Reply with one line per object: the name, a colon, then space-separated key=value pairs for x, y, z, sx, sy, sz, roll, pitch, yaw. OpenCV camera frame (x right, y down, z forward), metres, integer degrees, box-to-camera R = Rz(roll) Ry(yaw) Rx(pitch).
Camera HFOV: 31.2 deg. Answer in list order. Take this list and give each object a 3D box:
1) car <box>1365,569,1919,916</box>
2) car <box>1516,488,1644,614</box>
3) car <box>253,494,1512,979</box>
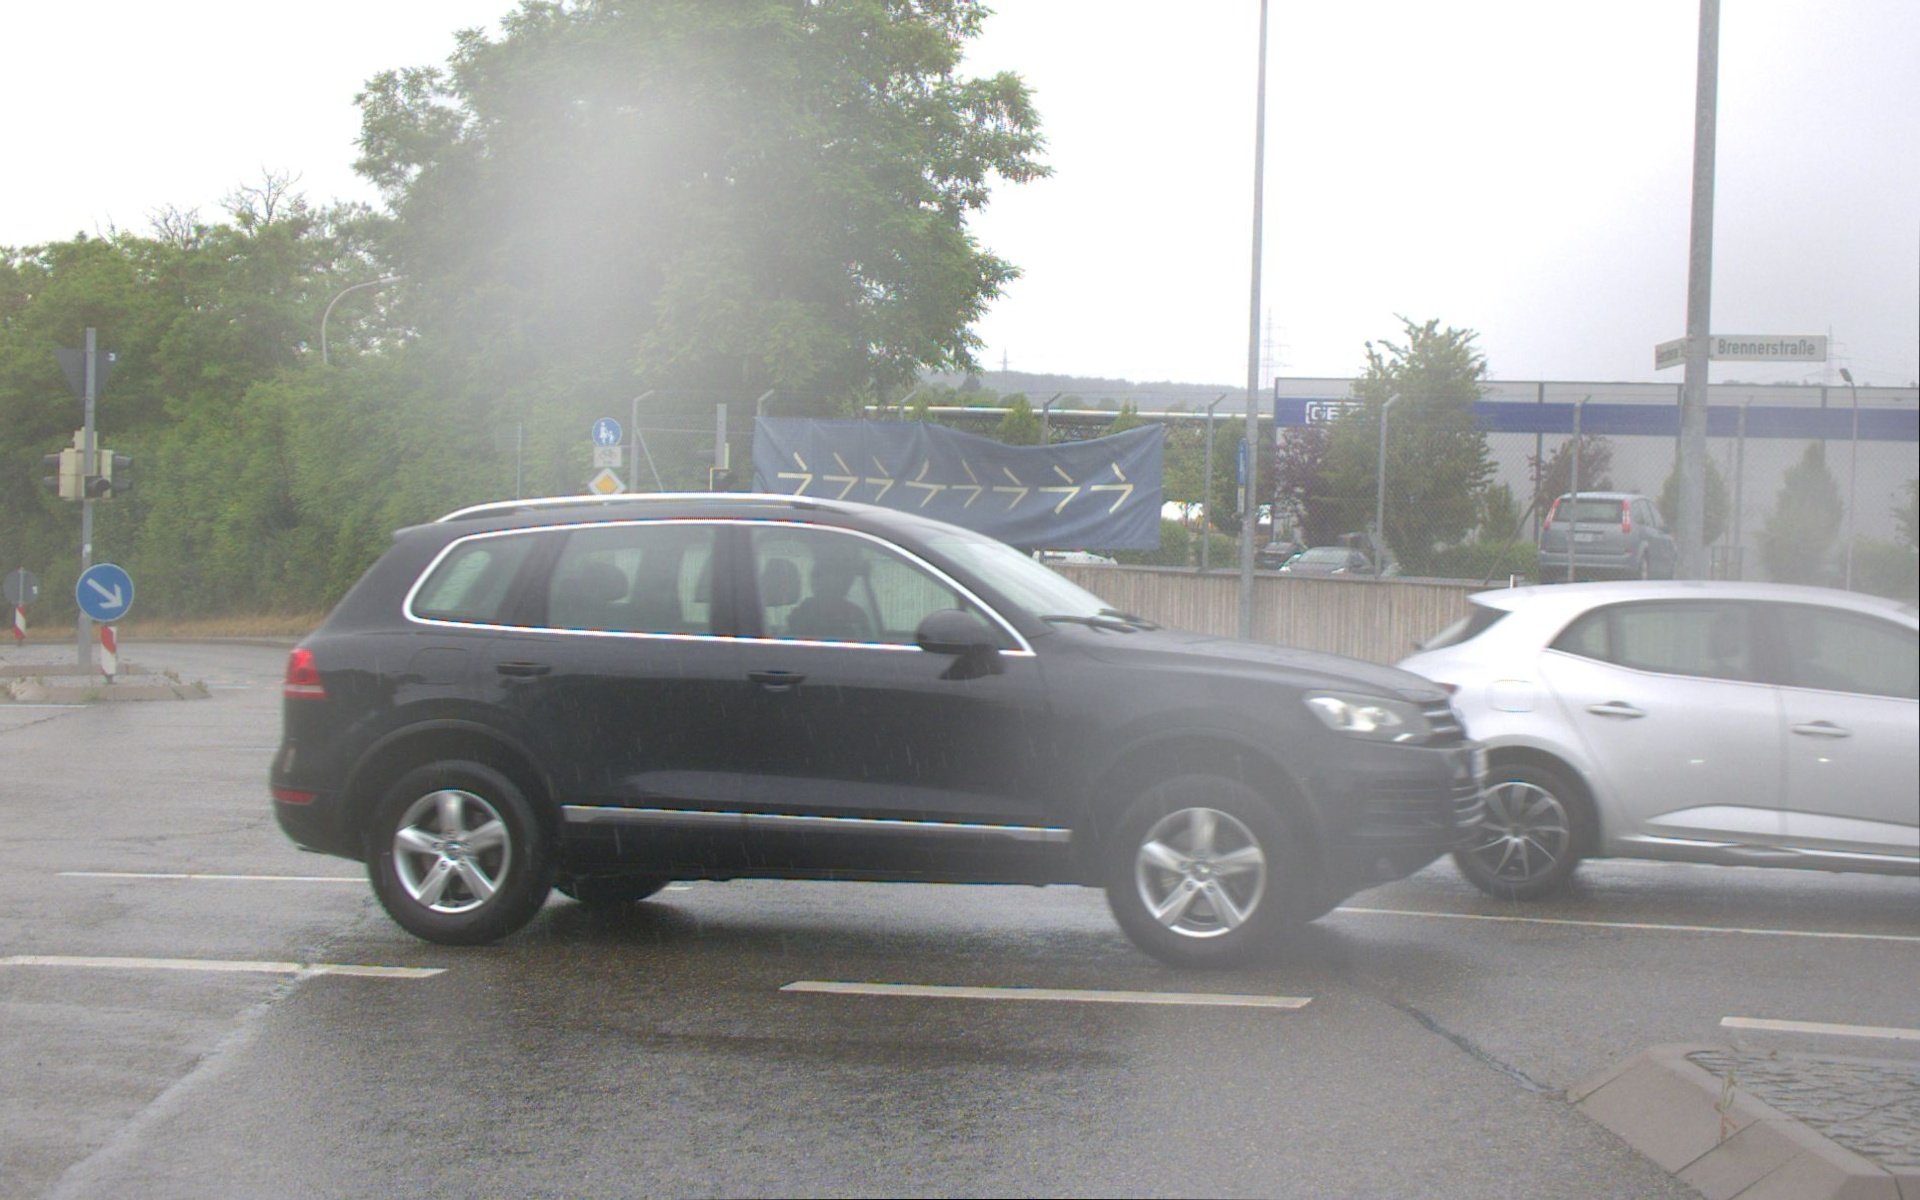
car: x=4.067 y=0.625 z=15.740 sx=4.142 sy=1.412 sz=1.926 roll=2 pitch=1 yaw=14
car: x=10.438 y=-0.825 z=57.702 sx=1.994 sy=2.007 sz=3.998 roll=1 pitch=1 yaw=11
car: x=-0.236 y=0.443 z=13.559 sx=4.599 sy=1.696 sz=1.999 roll=0 pitch=1 yaw=14
